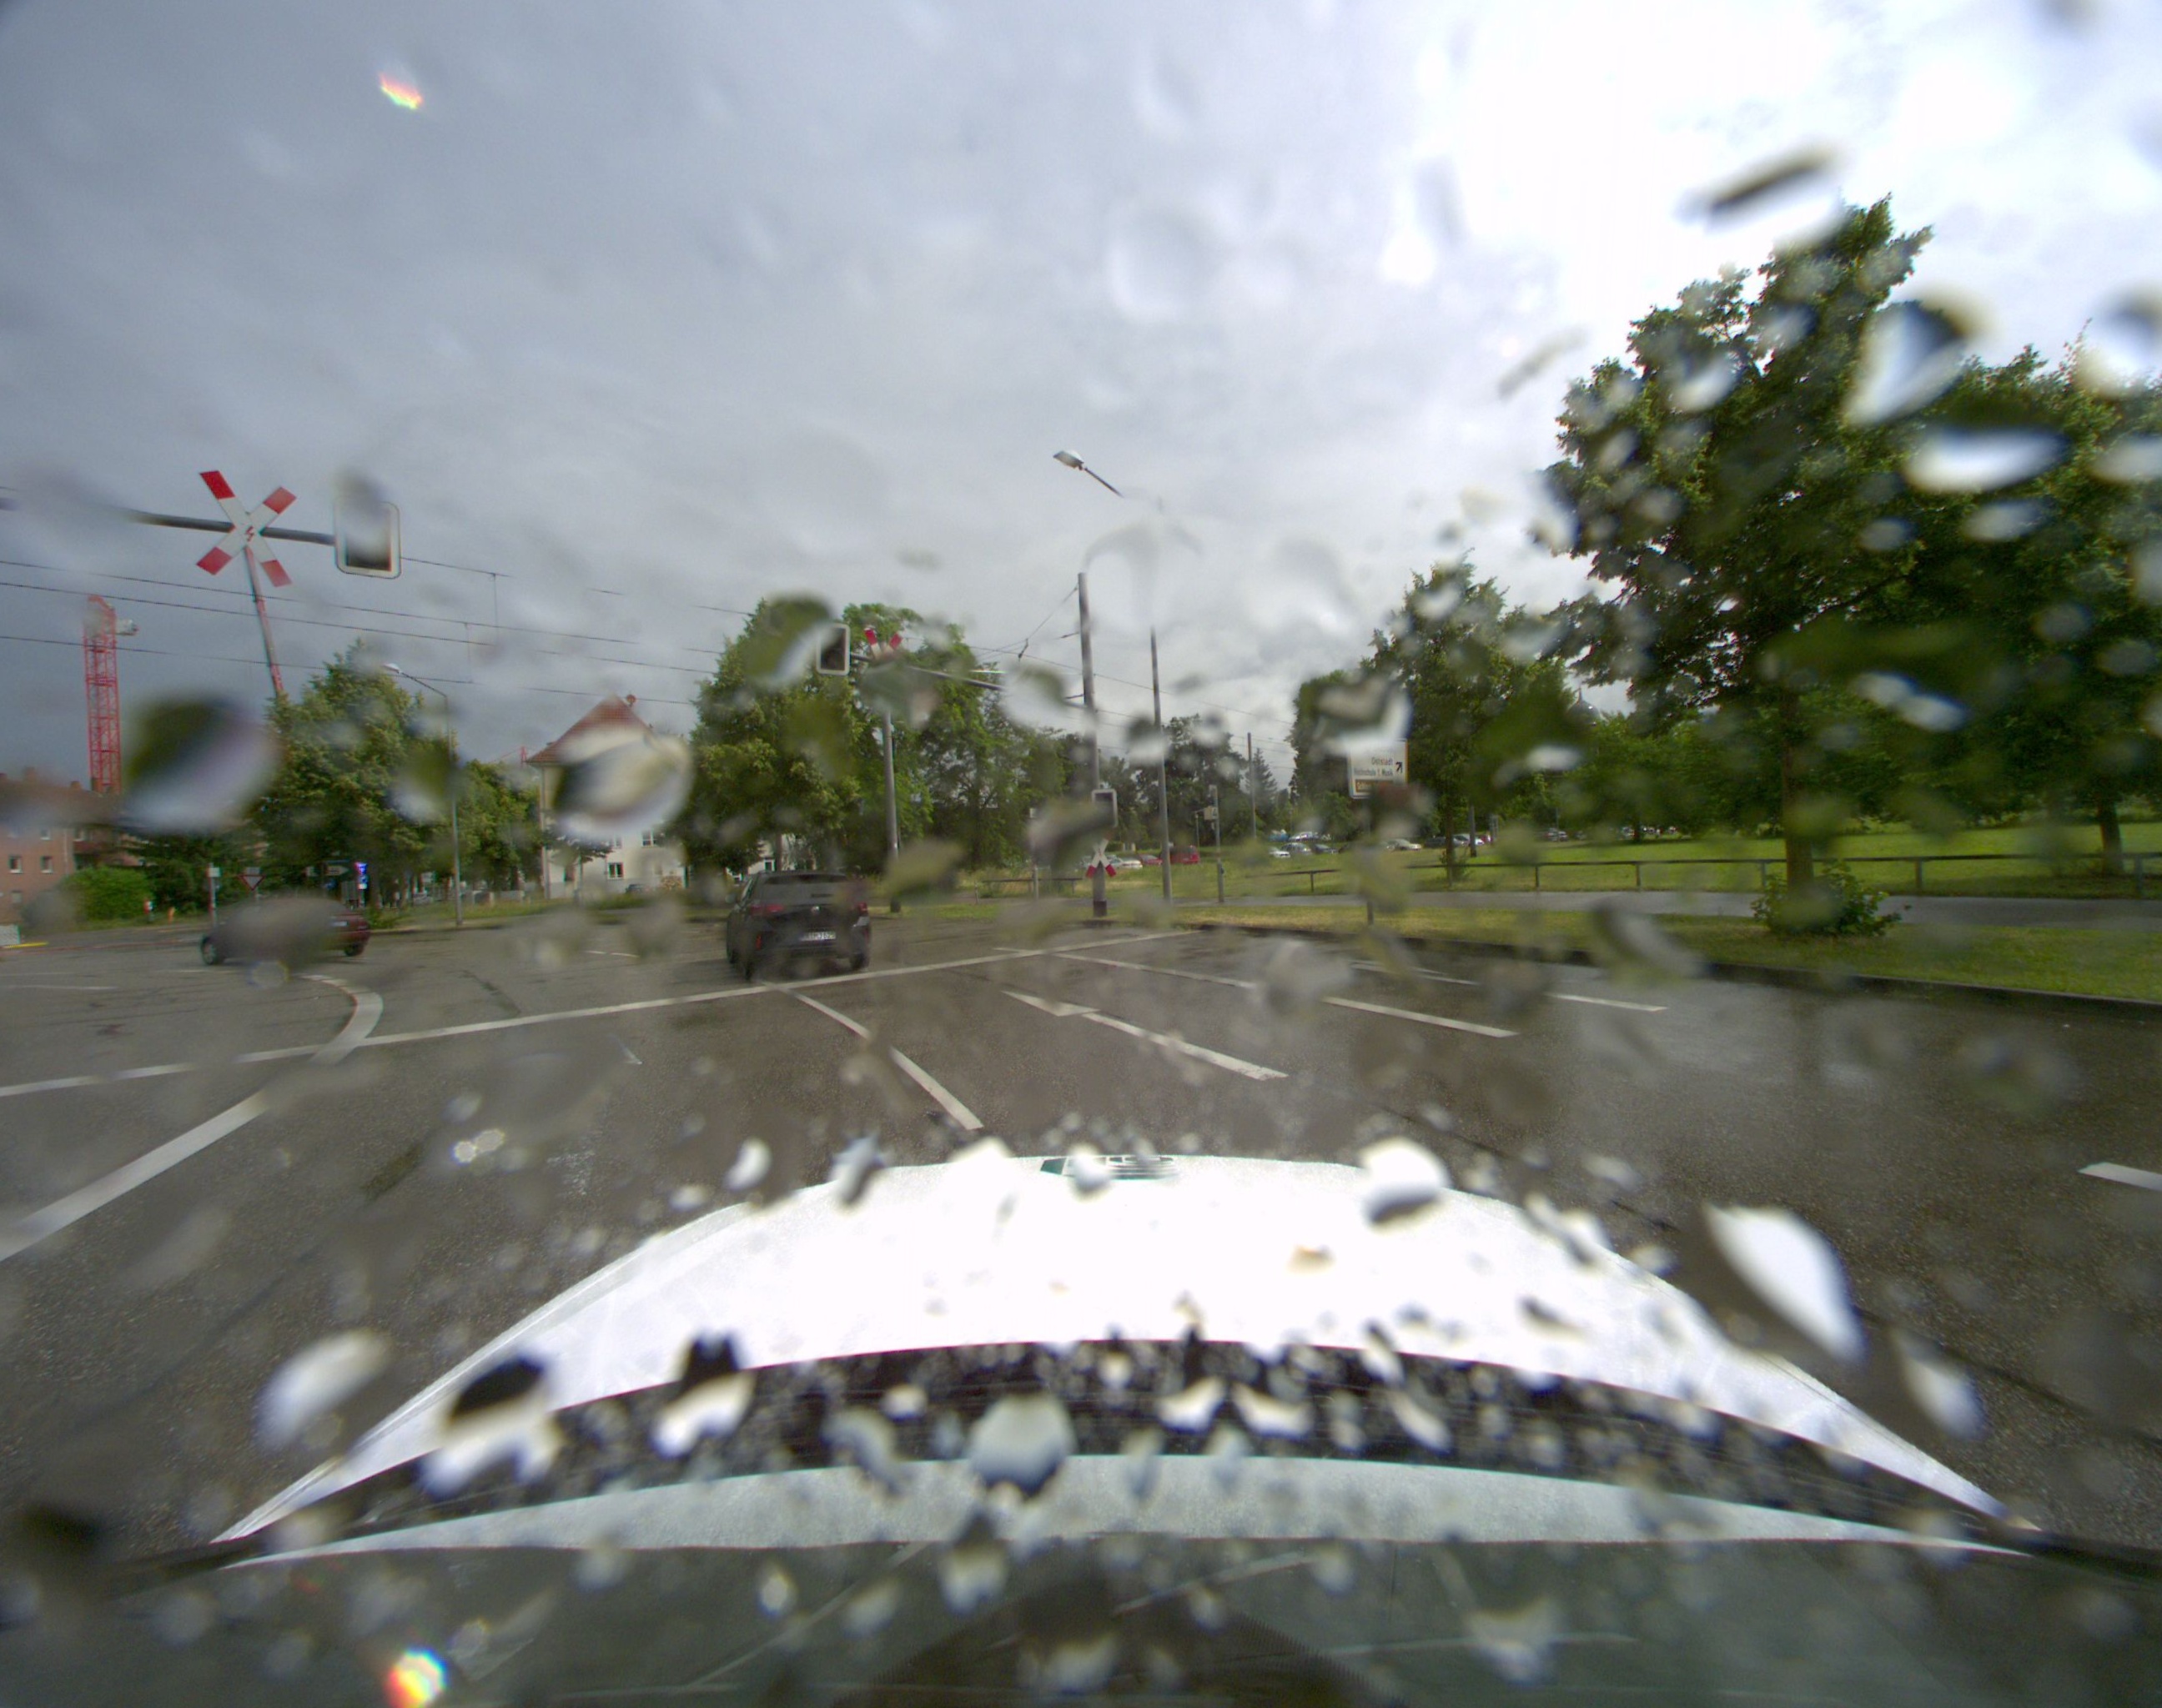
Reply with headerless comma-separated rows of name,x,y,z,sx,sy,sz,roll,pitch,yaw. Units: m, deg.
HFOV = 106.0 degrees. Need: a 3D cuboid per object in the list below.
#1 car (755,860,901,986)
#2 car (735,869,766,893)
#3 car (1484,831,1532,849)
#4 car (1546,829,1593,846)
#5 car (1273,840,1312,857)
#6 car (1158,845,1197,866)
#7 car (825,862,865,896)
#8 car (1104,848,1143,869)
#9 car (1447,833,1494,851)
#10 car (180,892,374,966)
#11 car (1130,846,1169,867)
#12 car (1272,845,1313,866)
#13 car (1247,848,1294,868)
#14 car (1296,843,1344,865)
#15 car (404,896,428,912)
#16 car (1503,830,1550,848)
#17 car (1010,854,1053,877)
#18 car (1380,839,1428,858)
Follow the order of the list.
car,-4.269,1.012,13.324,1.905,1.618,3.970,-3,-1,-22
car,-25.697,2.047,63.222,1.856,1.552,4.071,-3,2,-26
car,43.359,-1.379,82.781,1.853,1.559,3.946,-3,0,-25
car,52.409,-1.754,87.447,1.853,1.559,3.946,-3,0,-25
car,22.506,-0.551,86.816,1.802,1.527,3.967,-3,0,-25
car,7.791,0.130,65.965,1.650,1.510,3.626,-3,0,-19
car,-16.148,1.665,55.501,2.114,2.057,5.125,-4,1,-21
car,3.267,0.364,63.679,1.647,1.461,3.584,-3,0,-22
car,39.258,-1.204,82.068,1.853,1.559,3.946,-3,0,-25
car,-19.046,1.771,19.308,3.952,1.462,1.730,-3,1,21
car,5.451,0.211,64.993,1.647,1.461,3.584,-3,0,-22
car,18.514,0.180,71.411,1.553,1.660,3.599,-3,0,-25
car,16.341,0.352,70.472,1.802,1.527,3.967,-3,0,-25
car,21.231,0.017,72.474,2.003,1.714,3.968,-3,0,-24
car,-69.712,5.200,85.396,1.556,1.454,3.464,-4,1,-33
car,46.274,-1.568,84.622,1.853,1.559,3.946,-3,0,-25
car,-3.699,0.893,60.282,1.853,1.559,3.946,-3,0,-25
car,30.337,-0.529,76.670,1.853,1.559,3.946,-3,0,-25
